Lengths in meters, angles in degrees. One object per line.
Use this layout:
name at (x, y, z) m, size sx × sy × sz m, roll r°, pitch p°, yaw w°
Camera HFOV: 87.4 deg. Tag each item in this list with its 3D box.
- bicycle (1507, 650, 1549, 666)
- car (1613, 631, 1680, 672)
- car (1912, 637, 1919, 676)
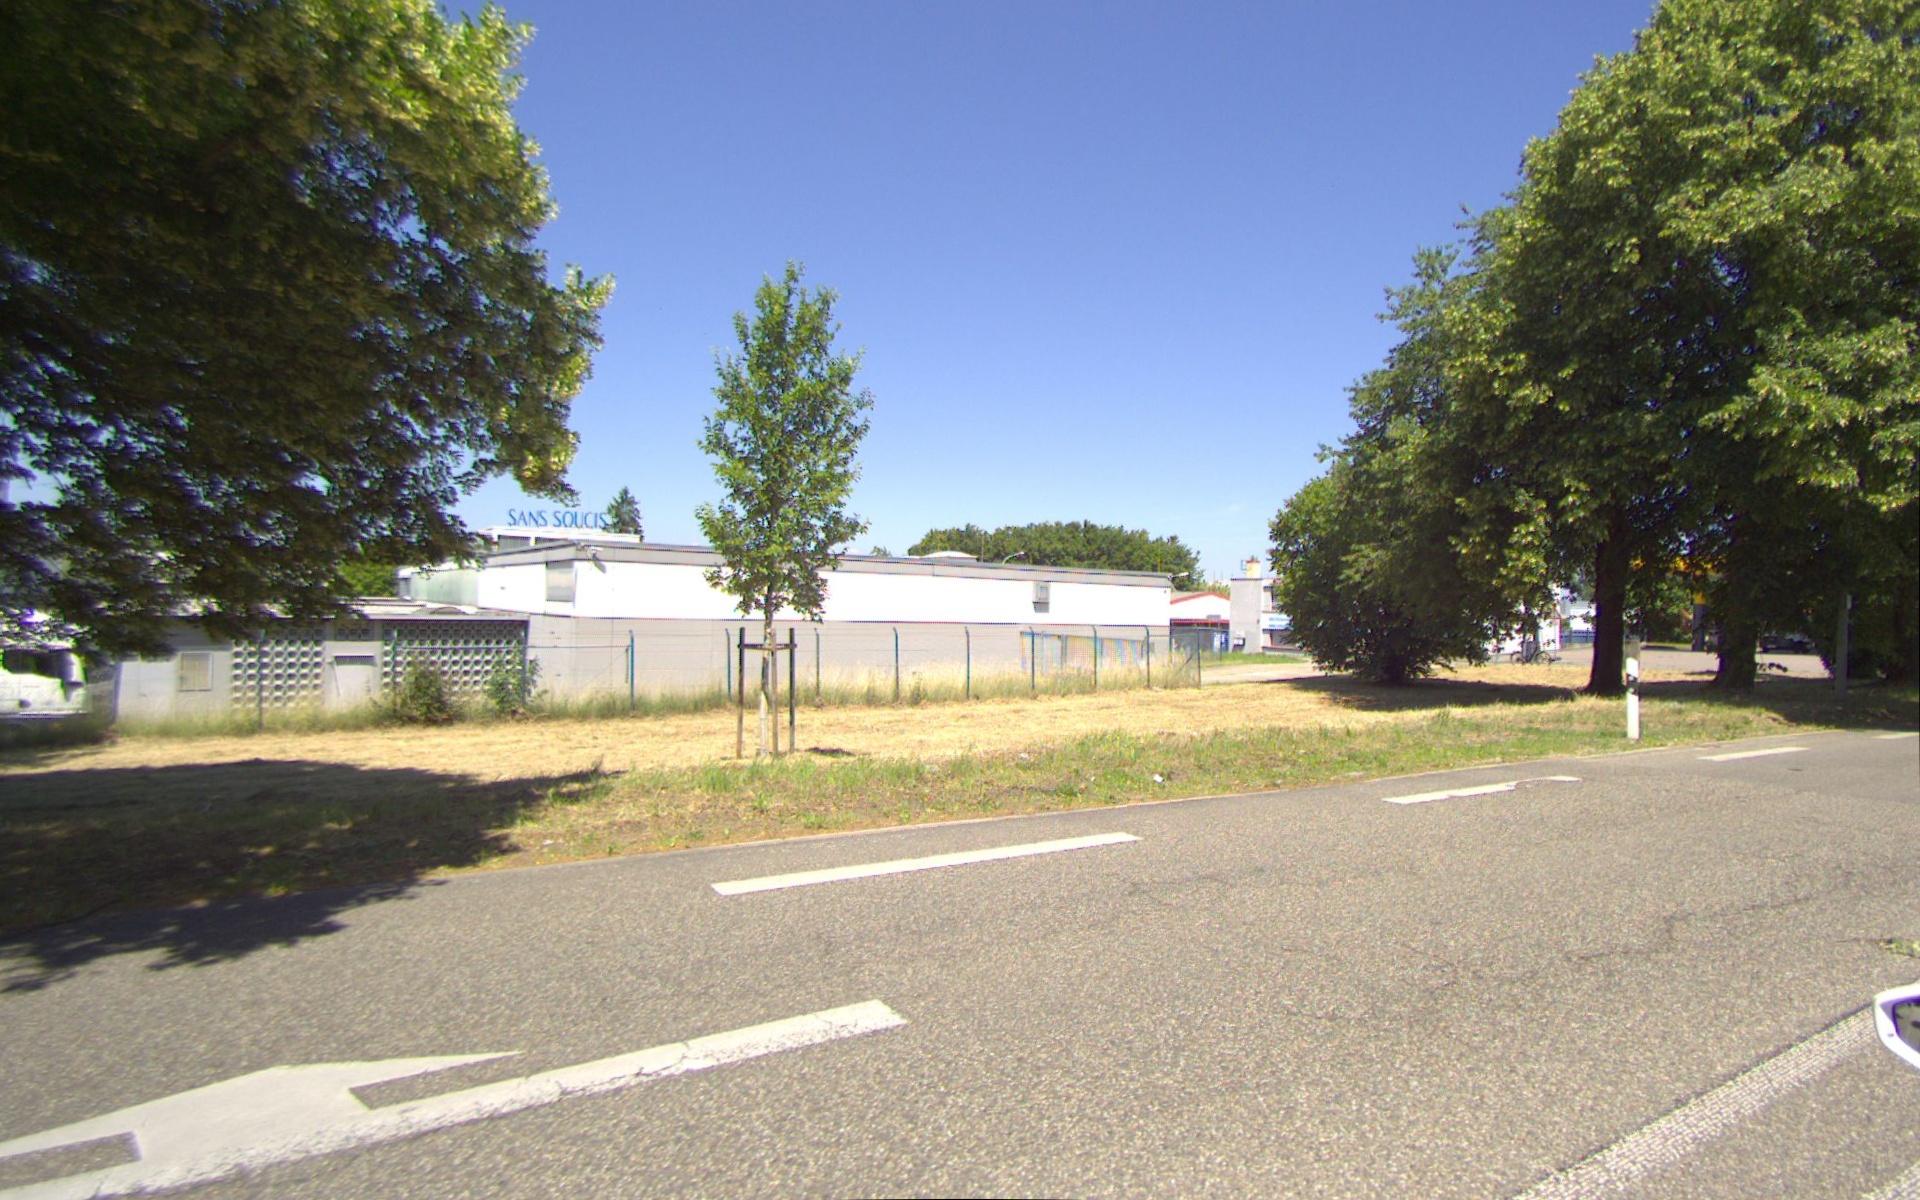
bicycle at (26.003, 2.640, 46.003) m, size 0.421 × 0.655 × 1.660 m, roll 2°, pitch -1°, yaw -36°
car at (29.004, 2.127, 42.381) m, size 1.718 × 1.606 × 3.976 m, roll 0°, pitch -2°, yaw 44°
car at (34.430, 1.958, 33.889) m, size 1.309 × 1.380 × 3.434 m, roll 1°, pitch -1°, yaw -1°
